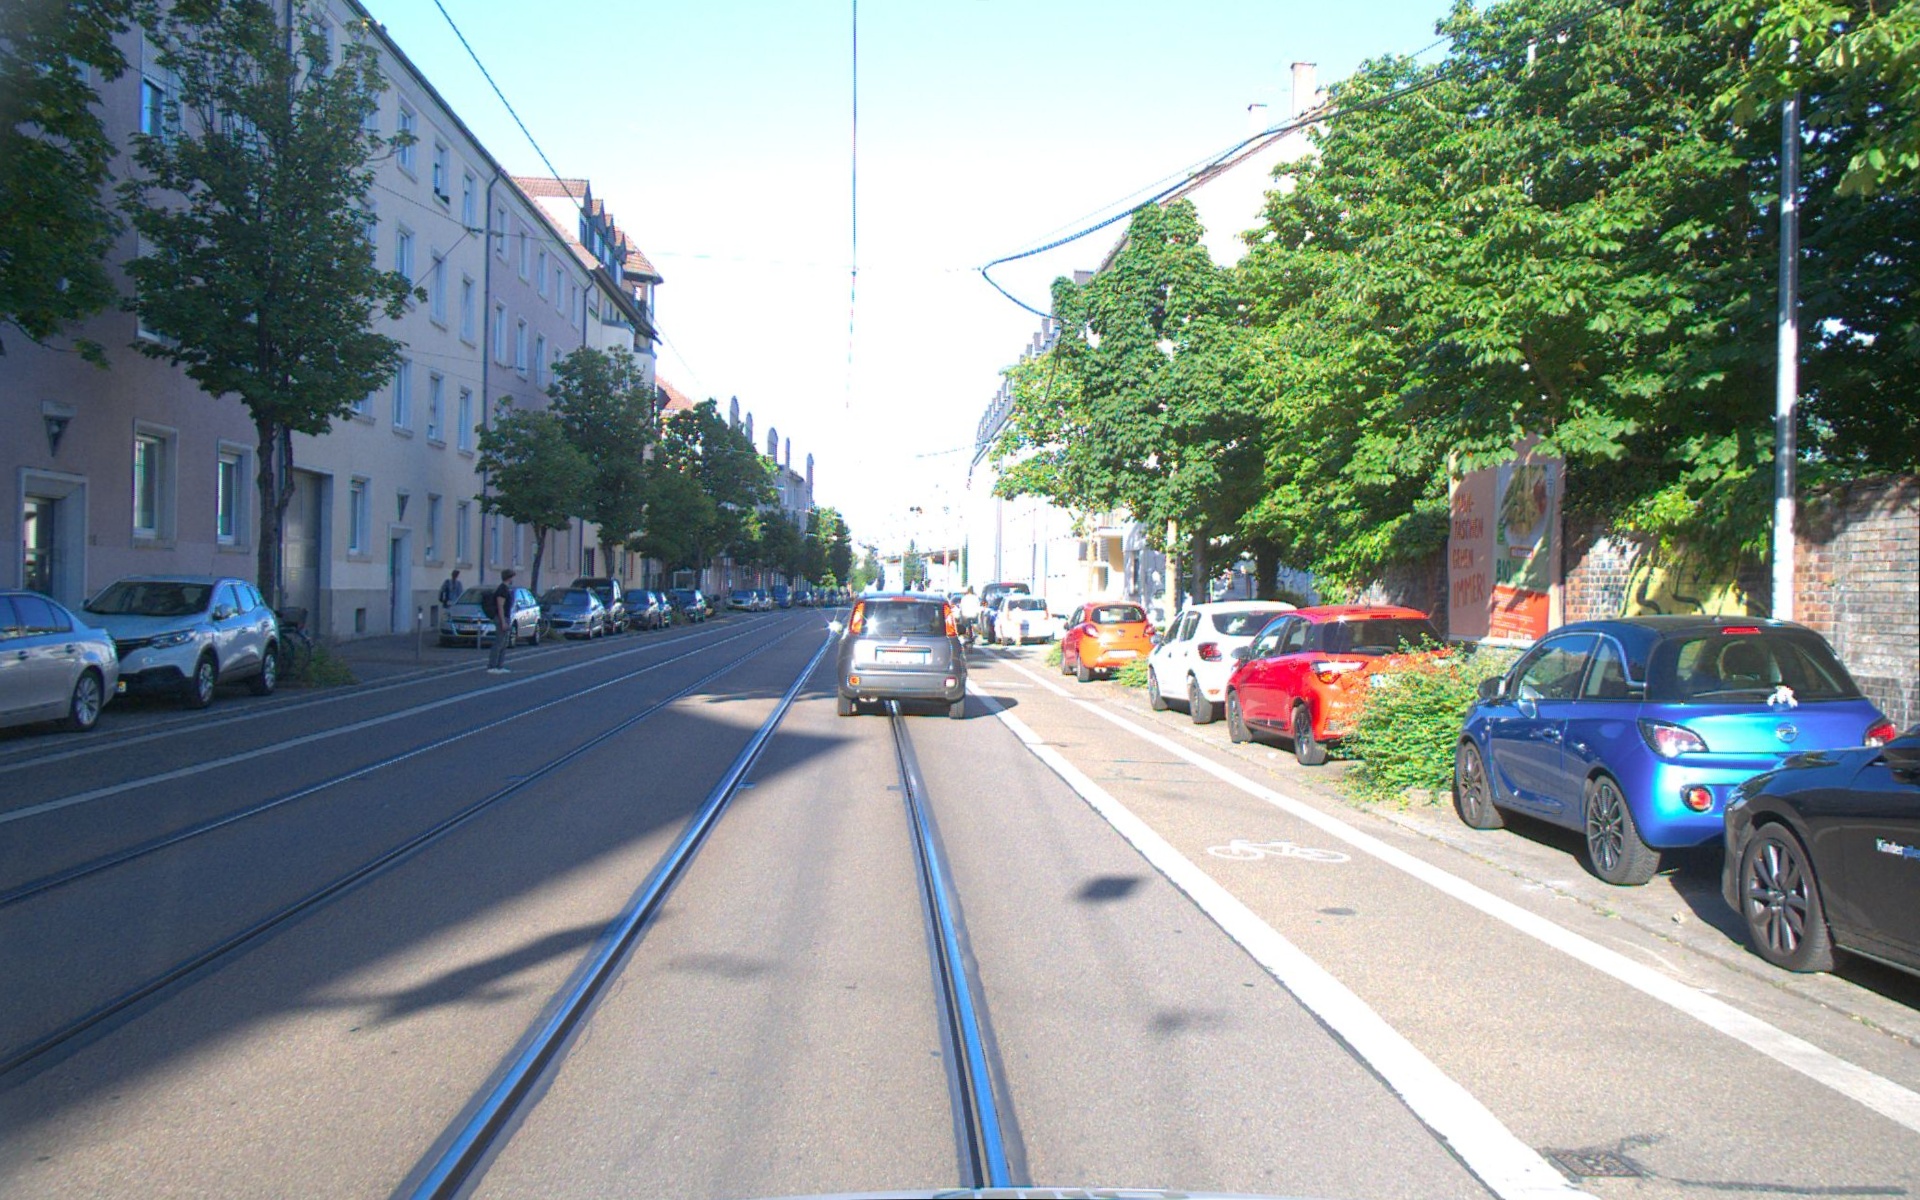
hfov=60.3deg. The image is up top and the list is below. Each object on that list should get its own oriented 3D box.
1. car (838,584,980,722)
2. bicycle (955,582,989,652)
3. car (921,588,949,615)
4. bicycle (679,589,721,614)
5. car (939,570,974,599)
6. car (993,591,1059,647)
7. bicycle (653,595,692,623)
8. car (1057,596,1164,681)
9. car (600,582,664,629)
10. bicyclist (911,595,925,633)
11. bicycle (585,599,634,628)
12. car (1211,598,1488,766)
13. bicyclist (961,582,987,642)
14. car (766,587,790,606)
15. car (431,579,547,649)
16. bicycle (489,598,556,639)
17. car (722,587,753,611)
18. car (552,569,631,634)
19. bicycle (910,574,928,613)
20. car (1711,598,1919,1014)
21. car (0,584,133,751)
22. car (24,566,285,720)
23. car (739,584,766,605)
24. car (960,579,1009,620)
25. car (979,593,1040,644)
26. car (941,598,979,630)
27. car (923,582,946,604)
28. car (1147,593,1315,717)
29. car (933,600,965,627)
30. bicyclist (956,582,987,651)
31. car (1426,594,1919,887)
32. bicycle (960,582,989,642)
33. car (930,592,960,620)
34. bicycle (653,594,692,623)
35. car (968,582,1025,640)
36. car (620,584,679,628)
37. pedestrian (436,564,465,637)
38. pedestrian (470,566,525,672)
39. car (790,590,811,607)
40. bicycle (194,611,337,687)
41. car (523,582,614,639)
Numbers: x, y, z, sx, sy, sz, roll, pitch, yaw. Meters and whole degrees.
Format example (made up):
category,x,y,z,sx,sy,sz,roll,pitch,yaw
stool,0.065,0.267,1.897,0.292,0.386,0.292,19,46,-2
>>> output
category,x,y,z,sx,sy,sz,roll,pitch,yaw
car,-0.697,0.612,21.654,1.617,1.568,4.232,2,0,-3
bicycle,0.303,0.430,43.750,0.662,1.777,2.156,2,0,-4
car,-1.646,0.097,107.864,1.552,1.627,3.374,2,0,-4
bicycle,-14.427,0.083,91.823,2.233,1.310,0.756,2,0,-9
car,-0.218,-0.801,86.841,1.552,1.430,3.374,2,0,-4
car,2.005,0.566,50.946,1.623,1.598,3.496,2,0,-4
bicycle,-13.025,0.416,74.910,1.696,1.217,0.372,2,0,-7
car,2.914,0.713,32.649,1.603,1.534,3.395,-1,0,-3
car,-12.225,0.196,61.865,1.773,1.648,4.061,2,0,-3
bicyclist,-2.299,0.756,90.368,0.701,2.049,0.831,2,0,-4
bicycle,-12.361,0.475,58.346,1.601,0.953,0.516,2,0,-8
car,3.981,0.767,17.580,1.656,1.557,3.995,0,0,-6
bicyclist,0.435,0.368,50.939,0.685,1.790,0.757,2,0,-4
car,-15.454,-0.294,140.630,1.673,1.523,3.720,2,0,-2
car,-11.367,0.318,40.184,1.773,1.534,4.188,2,0,-3
bicycle,-11.720,0.495,44.309,1.632,1.019,0.476,2,0,-1
car,-15.038,-0.073,112.092,1.673,1.523,3.720,2,0,-2
car,-12.106,0.031,54.558,1.773,1.977,4.331,2,0,-3
bicycle,-2.245,-0.353,90.291,0.727,2.049,2.809,2,0,-4
car,4.439,0.777,5.767,1.654,1.557,4.355,0,0,0
car,-9.697,0.613,15.473,1.655,1.501,4.658,2,0,-2
car,-10.023,0.480,20.951,1.620,1.697,4.289,2,0,-7
car,-15.824,-0.395,126.486,1.673,1.523,3.720,2,0,-2
car,0.957,-0.043,66.009,1.623,1.526,3.127,2,0,-4
car,1.609,0.590,55.205,1.623,1.598,3.873,2,0,-4
car,-0.018,0.666,81.124,1.552,1.430,3.374,-2,0,-4
car,-1.983,-0.553,126.996,1.552,1.627,3.374,2,0,-4
car,3.639,0.684,22.851,1.654,1.557,4.000,0,0,0
car,-0.647,0.771,95.678,1.552,1.430,3.374,2,0,-4
bicyclist,0.303,0.432,43.776,0.685,1.790,0.757,2,0,-4
car,4.450,0.746,10.833,1.654,1.557,4.000,0,0,0
bicycle,0.449,0.352,50.913,0.662,1.777,2.156,2,0,-4
car,-0.901,0.345,100.226,1.552,1.627,3.374,2,0,-4
bicycle,-12.951,0.378,74.519,1.696,1.217,0.372,2,0,-7
car,1.292,0.374,60.897,1.623,1.978,4.661,2,0,-4
car,-12.554,0.213,67.006,1.773,1.648,4.061,2,0,-3
pedestrian,-13.291,0.015,43.148,0.525,1.858,0.542,2,0,-4
pedestrian,-8.023,0.315,28.706,0.838,1.808,0.730,0,1,-23
car,-15.082,-0.141,156.438,1.673,1.523,3.720,2,0,-2
bicycle,-10.419,0.730,24.834,1.886,1.064,0.476,2,0,-2
car,-11.538,0.290,48.973,1.773,1.534,4.677,2,0,-3
